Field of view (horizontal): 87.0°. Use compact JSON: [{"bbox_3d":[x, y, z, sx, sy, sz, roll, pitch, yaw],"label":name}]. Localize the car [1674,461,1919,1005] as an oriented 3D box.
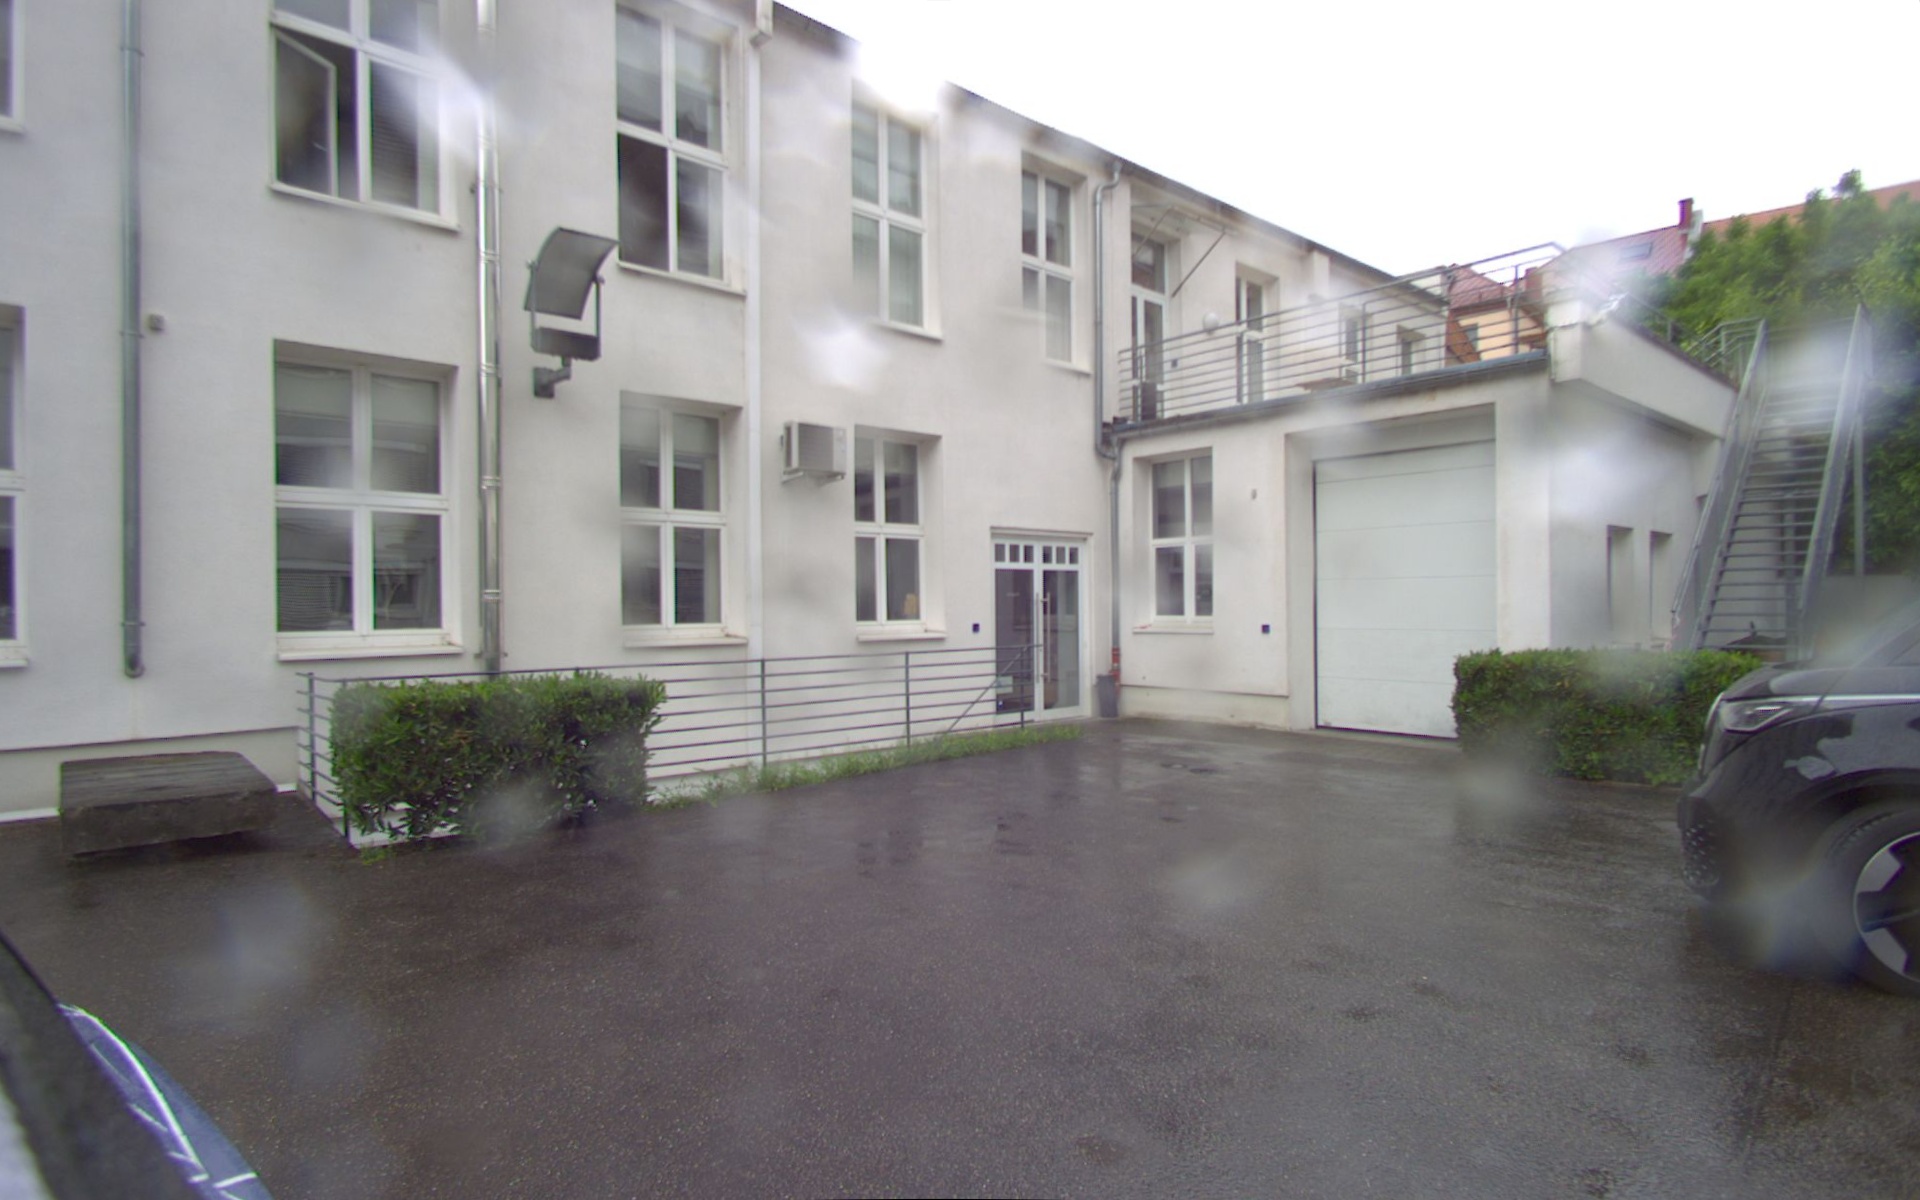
[{"bbox_3d":[5.215,0.445,3.309,4.519,1.912,2.019,-2,-2,41],"label":"car"}]
